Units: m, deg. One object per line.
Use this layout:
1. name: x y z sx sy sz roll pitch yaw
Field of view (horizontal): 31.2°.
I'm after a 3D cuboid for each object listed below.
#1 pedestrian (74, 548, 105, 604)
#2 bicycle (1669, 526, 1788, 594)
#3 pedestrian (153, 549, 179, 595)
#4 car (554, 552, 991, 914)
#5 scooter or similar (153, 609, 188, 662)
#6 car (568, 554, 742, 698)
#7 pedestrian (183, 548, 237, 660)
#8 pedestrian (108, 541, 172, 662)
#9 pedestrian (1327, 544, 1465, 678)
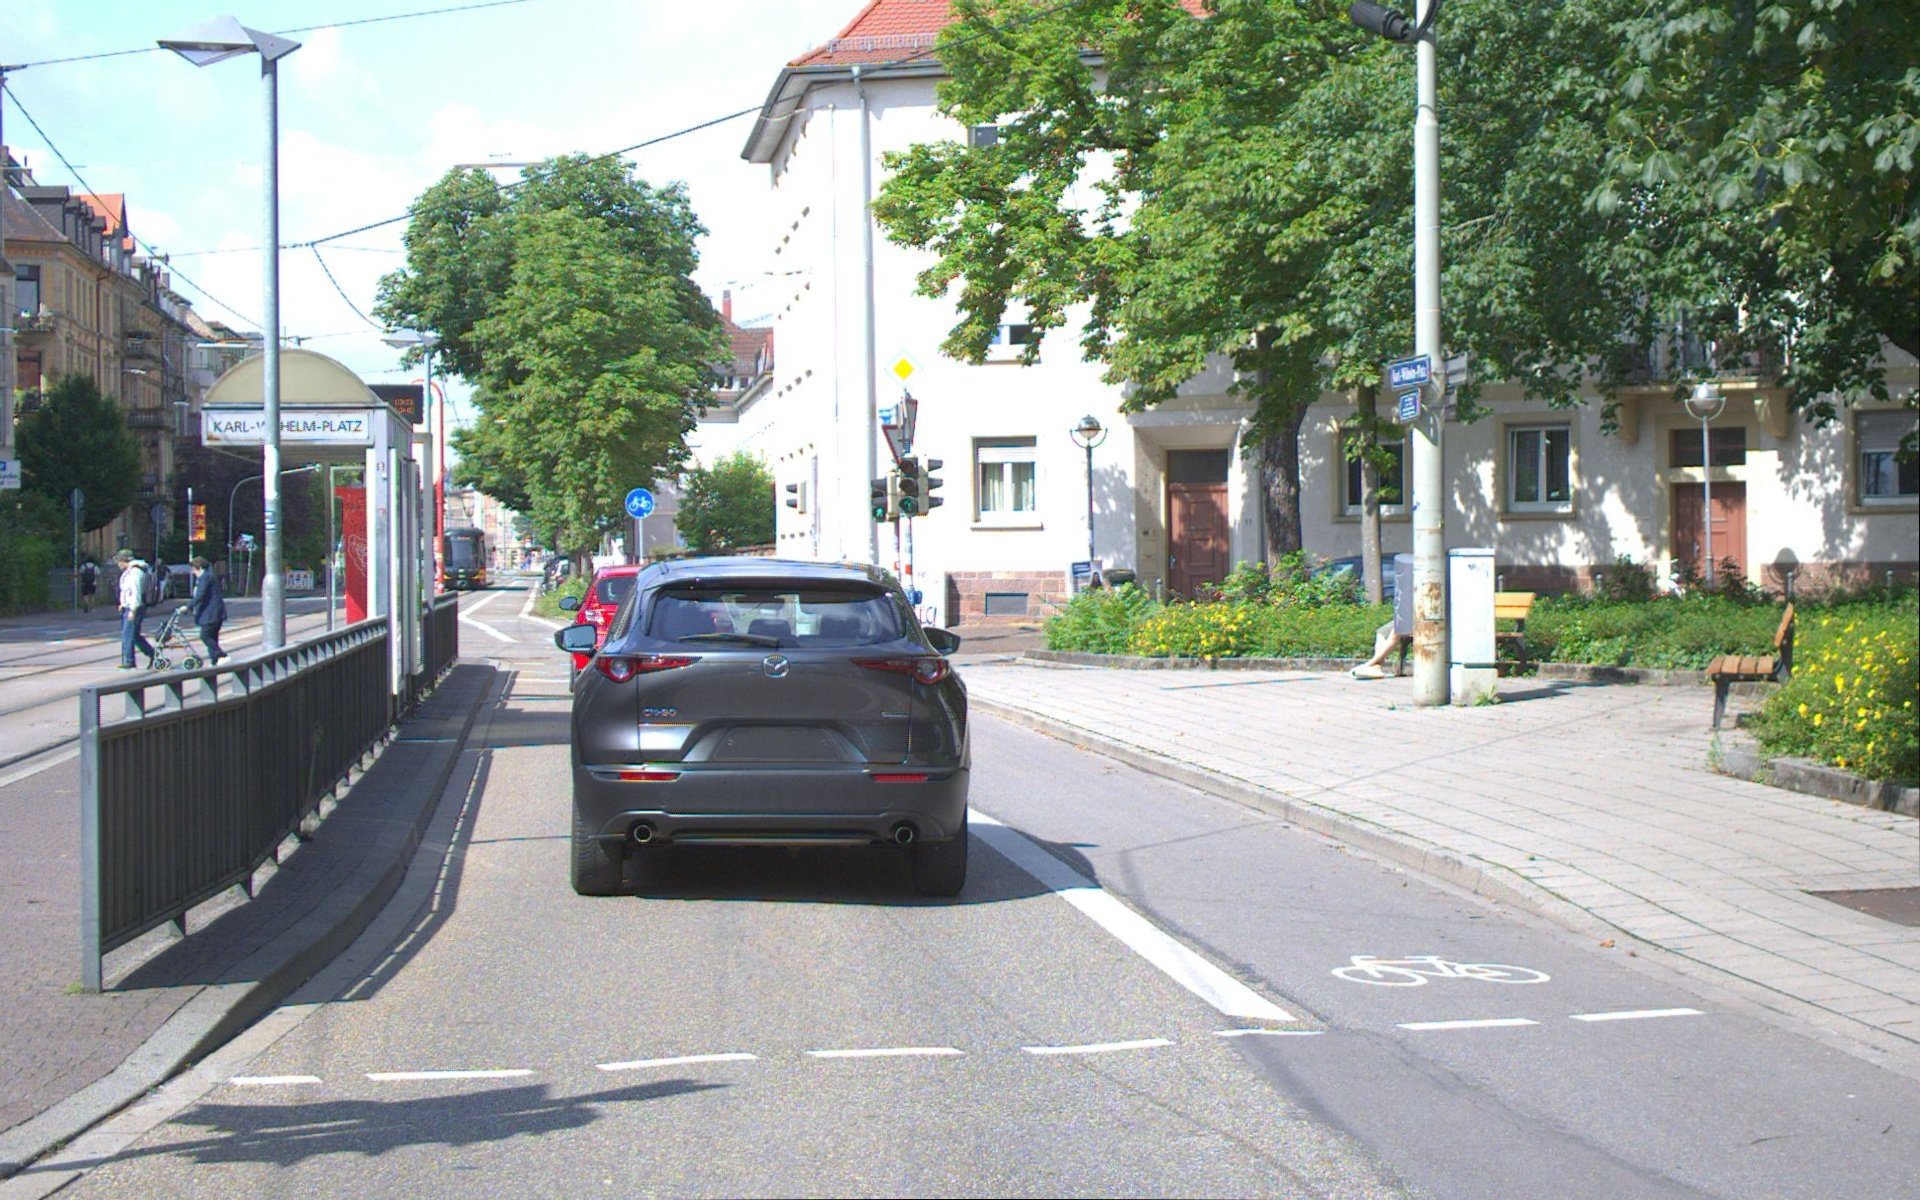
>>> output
1. pedestrian: -26.683 -0.739 105.366 0.787 1.682 0.732 -1 1 -5
2. bicycle: 11.886 -0.615 53.182 0.565 1.016 1.752 -4 3 -43
3. pedestrian: -28.951 -1.024 125.383 0.787 1.682 0.732 -1 1 -5
4. car: -1.029 0.555 16.667 1.782 1.509 4.001 2 0 -7
5. scooter or similar: -10.925 0.493 47.578 0.414 0.718 0.486 -1 1 -7
6. car: -3.383 0.249 37.660 1.775 1.459 3.843 1 1 -6
7. pedestrian: -10.387 0.049 47.617 0.667 1.540 0.581 -1 1 -7
8. pedestrian: -11.491 0.015 48.192 0.770 1.669 0.668 -1 1 -7
9. pedestrian: 4.326 0.102 34.144 1.192 1.265 0.558 -3 1 -11
